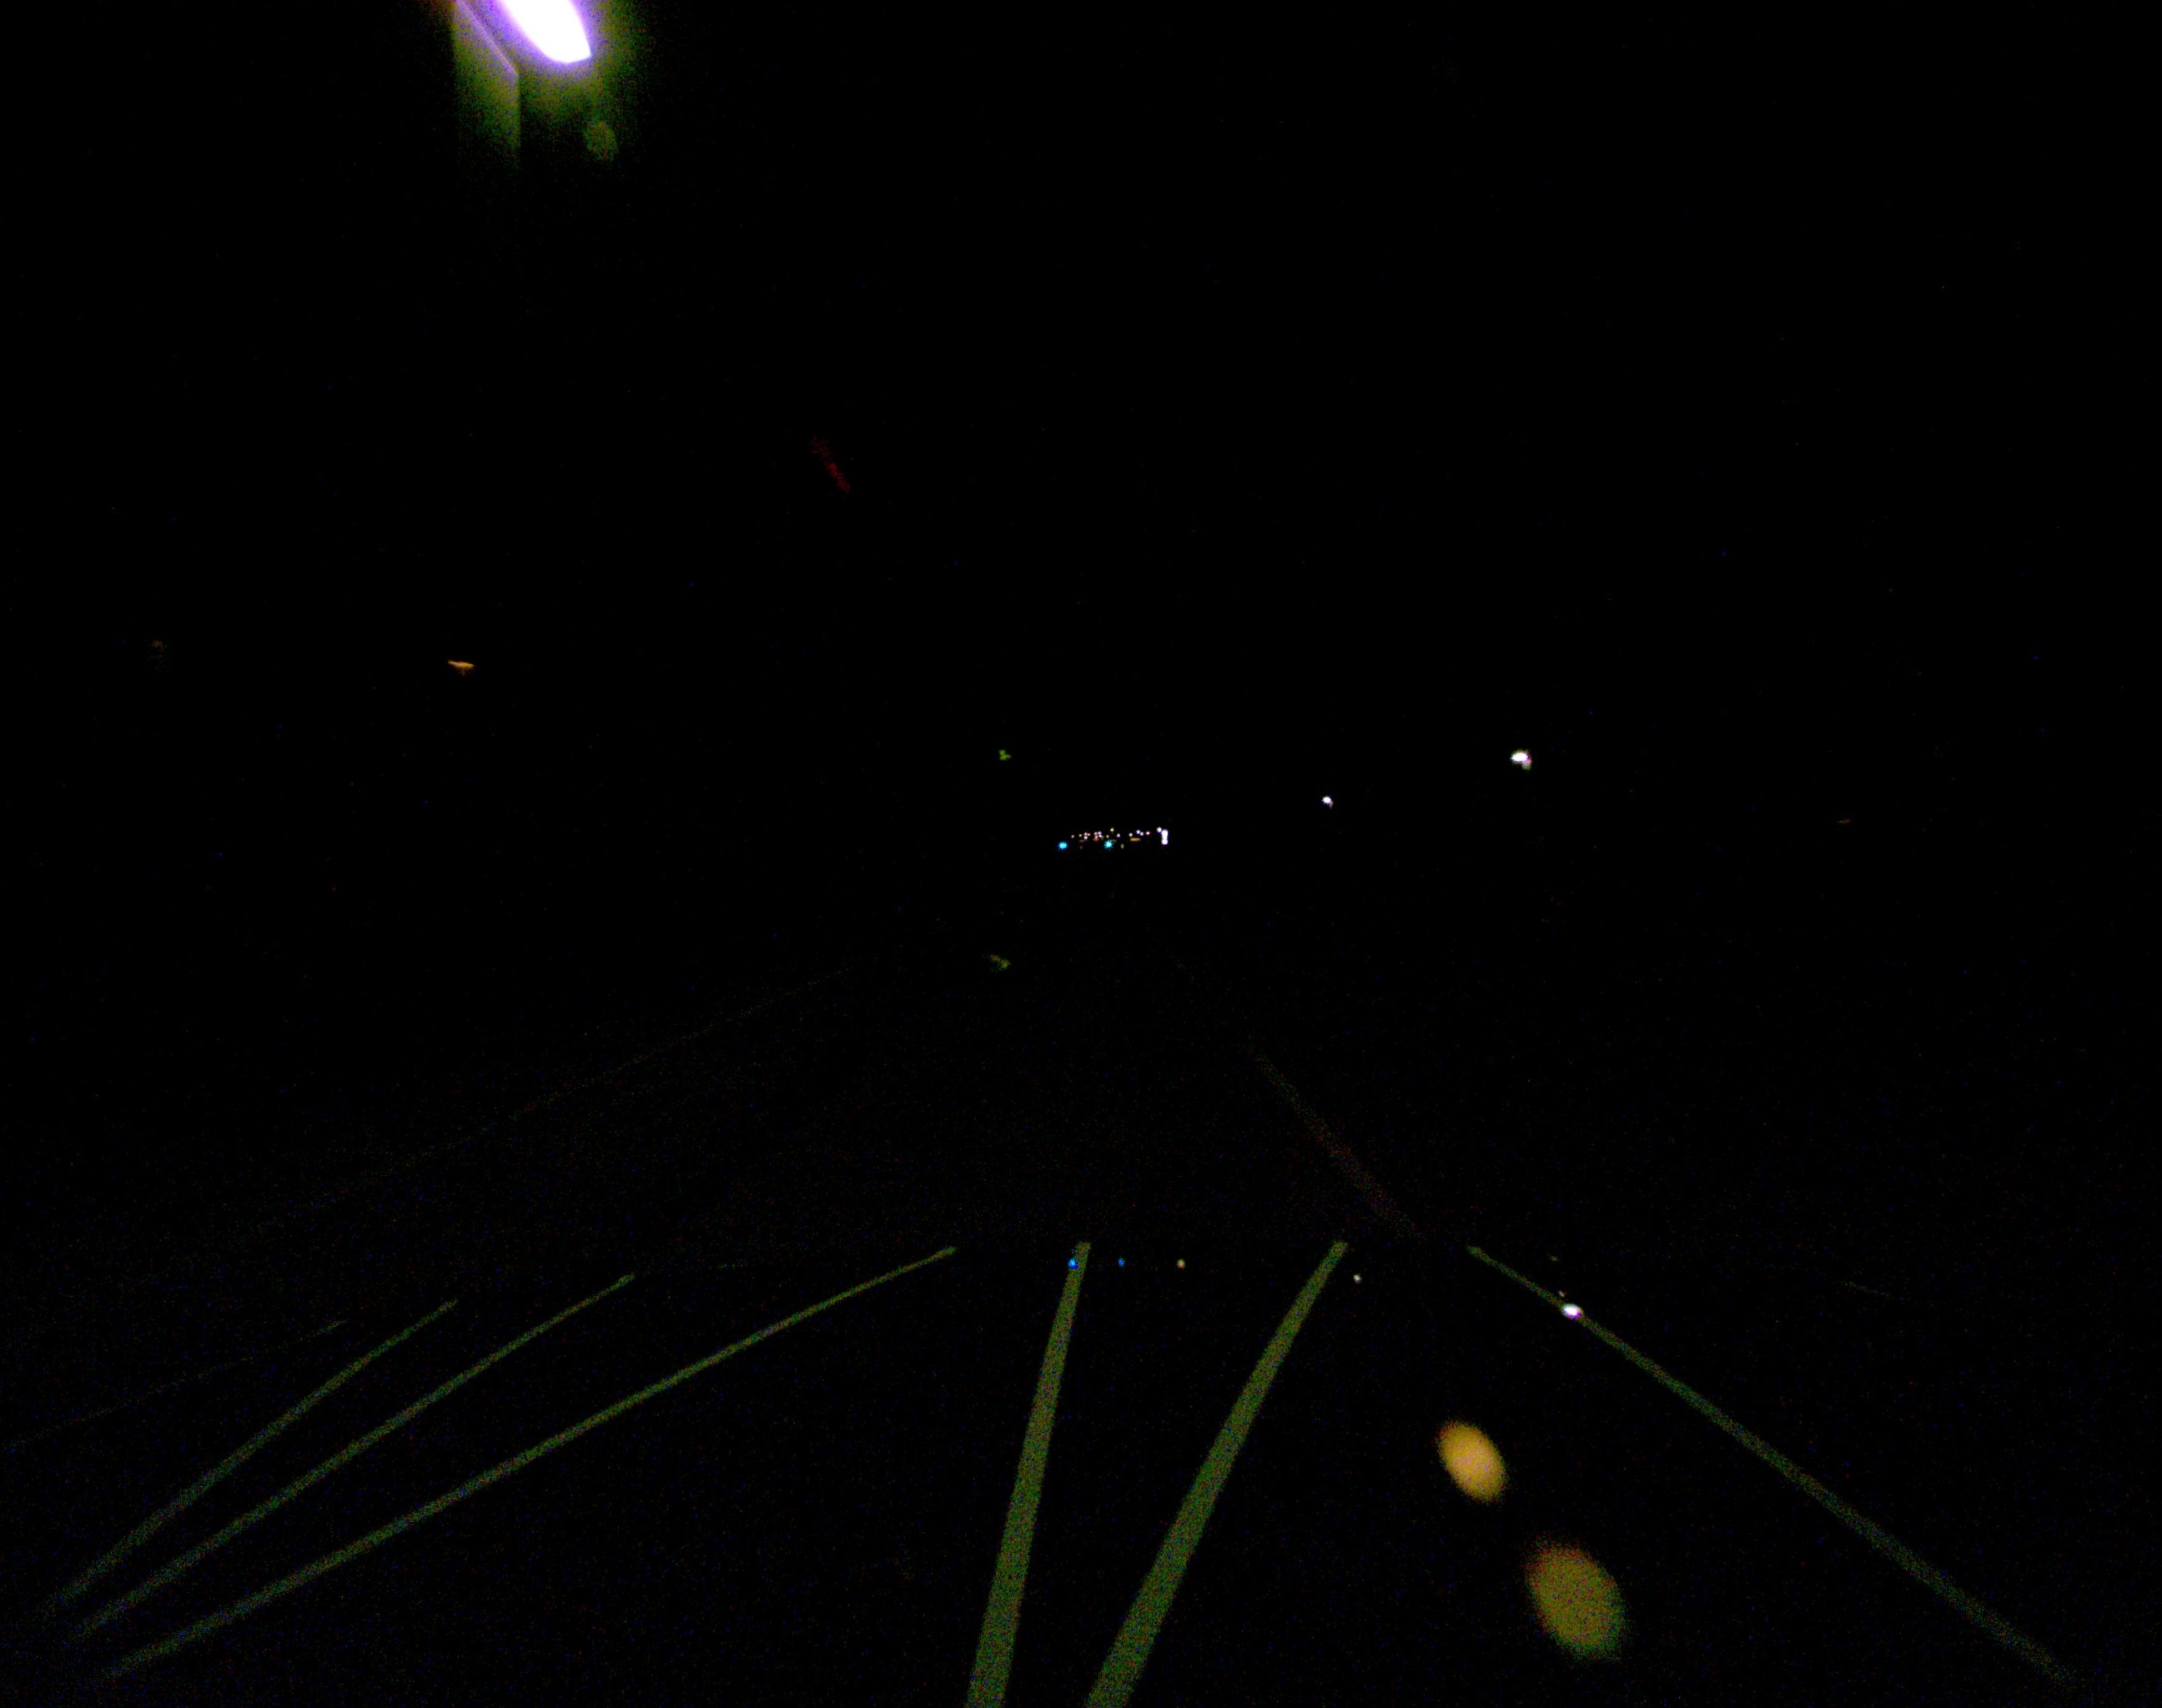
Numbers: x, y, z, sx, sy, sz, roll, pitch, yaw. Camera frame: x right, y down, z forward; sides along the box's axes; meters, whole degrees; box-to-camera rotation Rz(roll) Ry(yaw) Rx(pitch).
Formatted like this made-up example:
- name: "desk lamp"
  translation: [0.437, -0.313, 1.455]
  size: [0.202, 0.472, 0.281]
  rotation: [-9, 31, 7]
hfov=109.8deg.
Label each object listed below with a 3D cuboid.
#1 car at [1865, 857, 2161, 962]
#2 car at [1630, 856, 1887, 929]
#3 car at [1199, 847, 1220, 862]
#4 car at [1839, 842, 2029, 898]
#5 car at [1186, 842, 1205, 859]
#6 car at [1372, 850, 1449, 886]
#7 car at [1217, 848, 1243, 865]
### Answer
- name: "car"
  translation: [15.975, 0.813, 12.553]
  size: [1.732, 1.357, 4.145]
  rotation: [2, 1, 1]
- name: "car"
  translation: [16.007, 0.806, 18.435]
  size: [1.904, 1.357, 4.984]
  rotation: [2, 1, 3]
- name: "car"
  translation: [16.792, 0.038, 99.429]
  size: [2.124, 1.761, 4.720]
  rotation: [2, 1, 3]
- name: "car"
  translation: [27.128, 0.478, 24.269]
  size: [3.997, 1.534, 1.889]
  rotation: [-3, 1, -1]
- name: "car"
  translation: [16.991, -0.563, 113.028]
  size: [2.164, 2.498, 4.720]
  rotation: [2, 1, 3]
- name: "car"
  translation: [16.346, 0.645, 37.920]
  size: [1.768, 1.559, 4.693]
  rotation: [3, 1, 1]
- name: "car"
  translation: [16.892, 0.275, 86.365]
  size: [2.124, 1.761, 4.720]
  rotation: [2, 1, 3]
